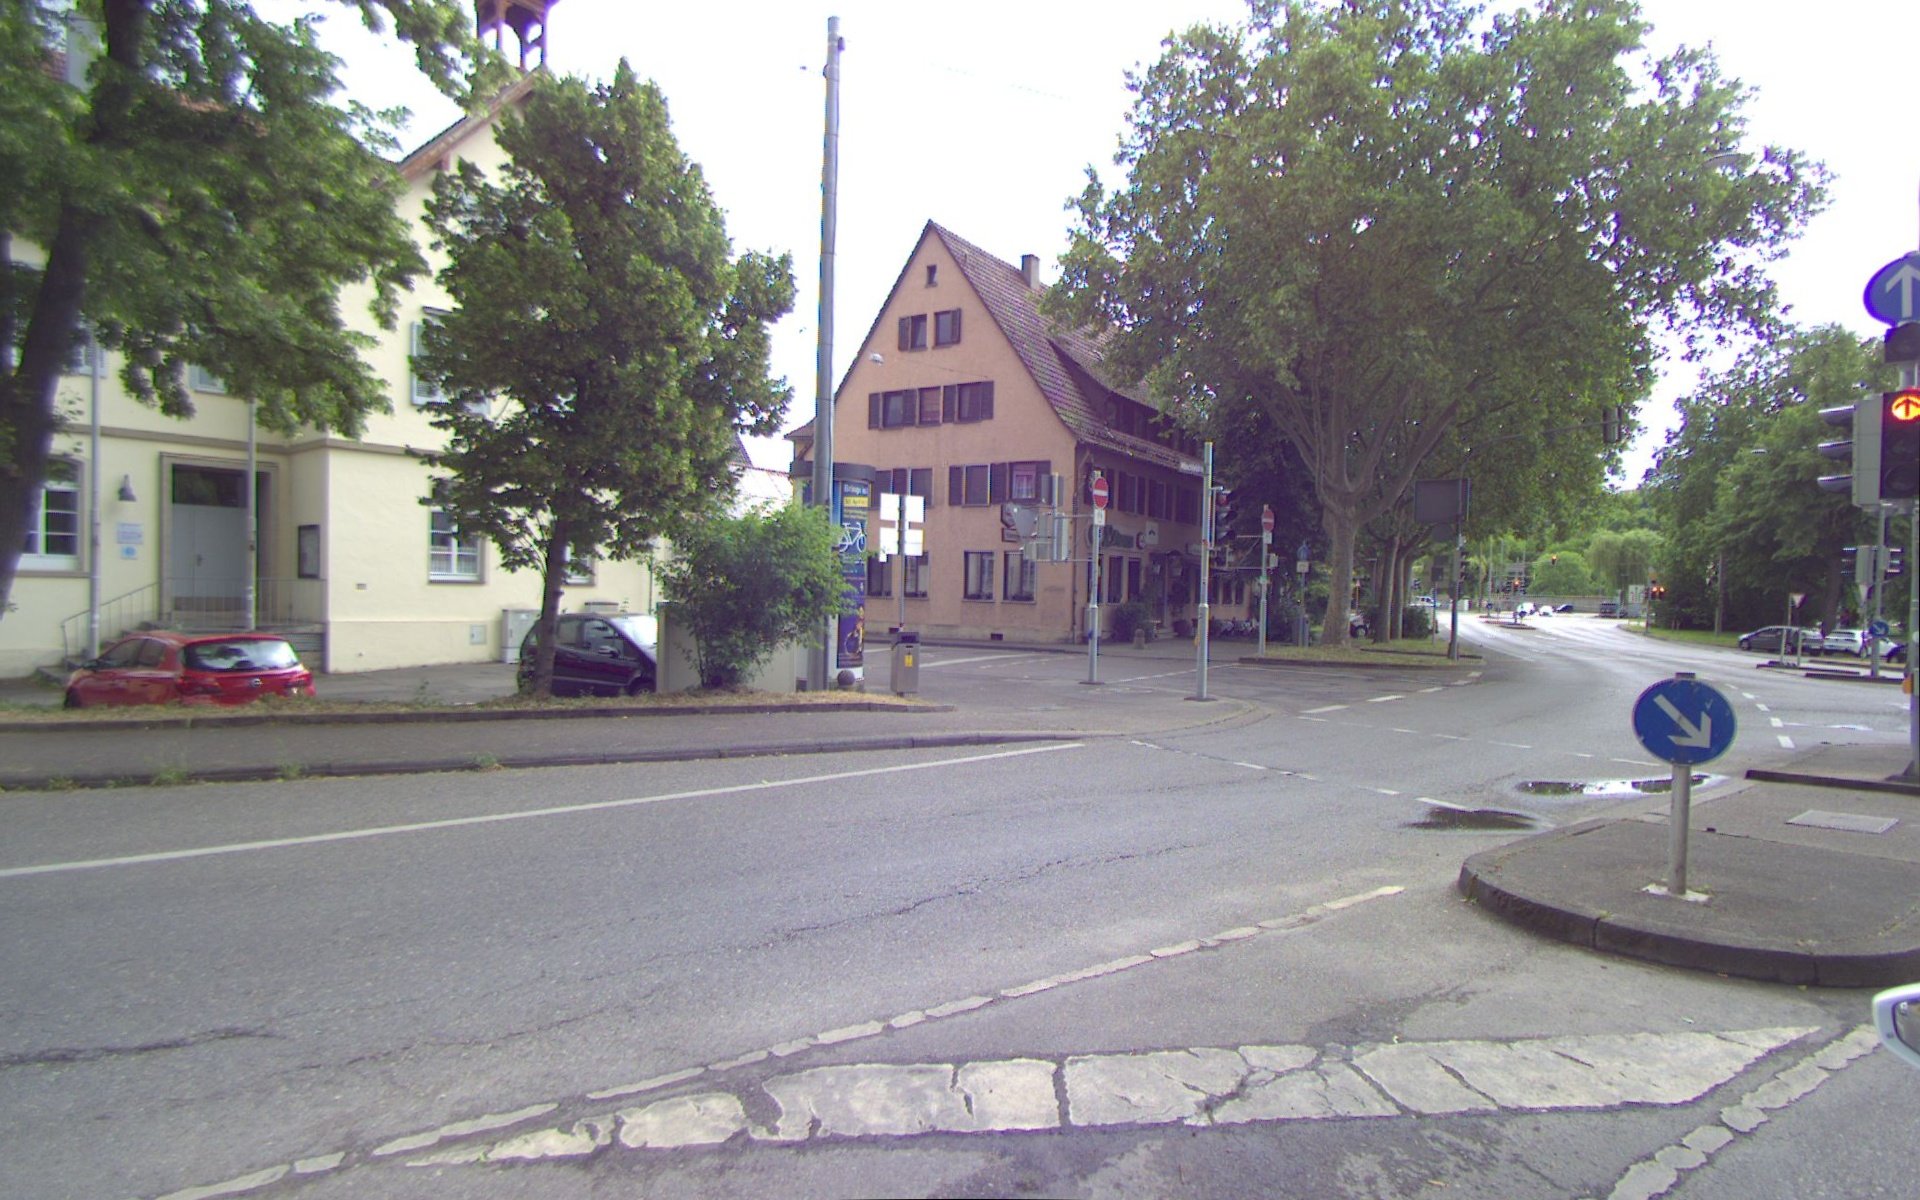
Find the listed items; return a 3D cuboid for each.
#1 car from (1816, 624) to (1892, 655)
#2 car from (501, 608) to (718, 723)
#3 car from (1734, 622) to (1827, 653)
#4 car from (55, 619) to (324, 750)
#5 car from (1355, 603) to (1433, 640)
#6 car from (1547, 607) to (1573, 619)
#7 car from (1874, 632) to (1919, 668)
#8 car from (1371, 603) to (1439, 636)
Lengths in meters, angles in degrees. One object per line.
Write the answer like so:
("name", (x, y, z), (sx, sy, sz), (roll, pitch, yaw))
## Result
("car", (47.293, 2.086, 53.159), (3.342, 1.484, 1.543), (2, 0, -19))
("car", (-5.771, 1.006, 16.590), (3.035, 1.654, 1.607), (2, 0, 22))
("car", (43.854, 1.973, 53.758), (1.559, 1.484, 3.543), (2, 0, -17))
("car", (-10.182, 1.012, 13.242), (3.492, 1.397, 1.605), (2, 0, 30))
("car", (21.400, 1.050, 49.580), (3.387, 1.663, 1.570), (2, 0, 28))
("car", (108.217, 2.331, 181.090), (3.928, 2.040, 1.996), (2, 0, 30))
("car", (39.561, 2.081, 40.942), (1.442, 1.412, 3.596), (2, 0, 3))
("car", (25.461, 1.089, 57.464), (3.387, 1.765, 1.570), (2, 0, 28))
